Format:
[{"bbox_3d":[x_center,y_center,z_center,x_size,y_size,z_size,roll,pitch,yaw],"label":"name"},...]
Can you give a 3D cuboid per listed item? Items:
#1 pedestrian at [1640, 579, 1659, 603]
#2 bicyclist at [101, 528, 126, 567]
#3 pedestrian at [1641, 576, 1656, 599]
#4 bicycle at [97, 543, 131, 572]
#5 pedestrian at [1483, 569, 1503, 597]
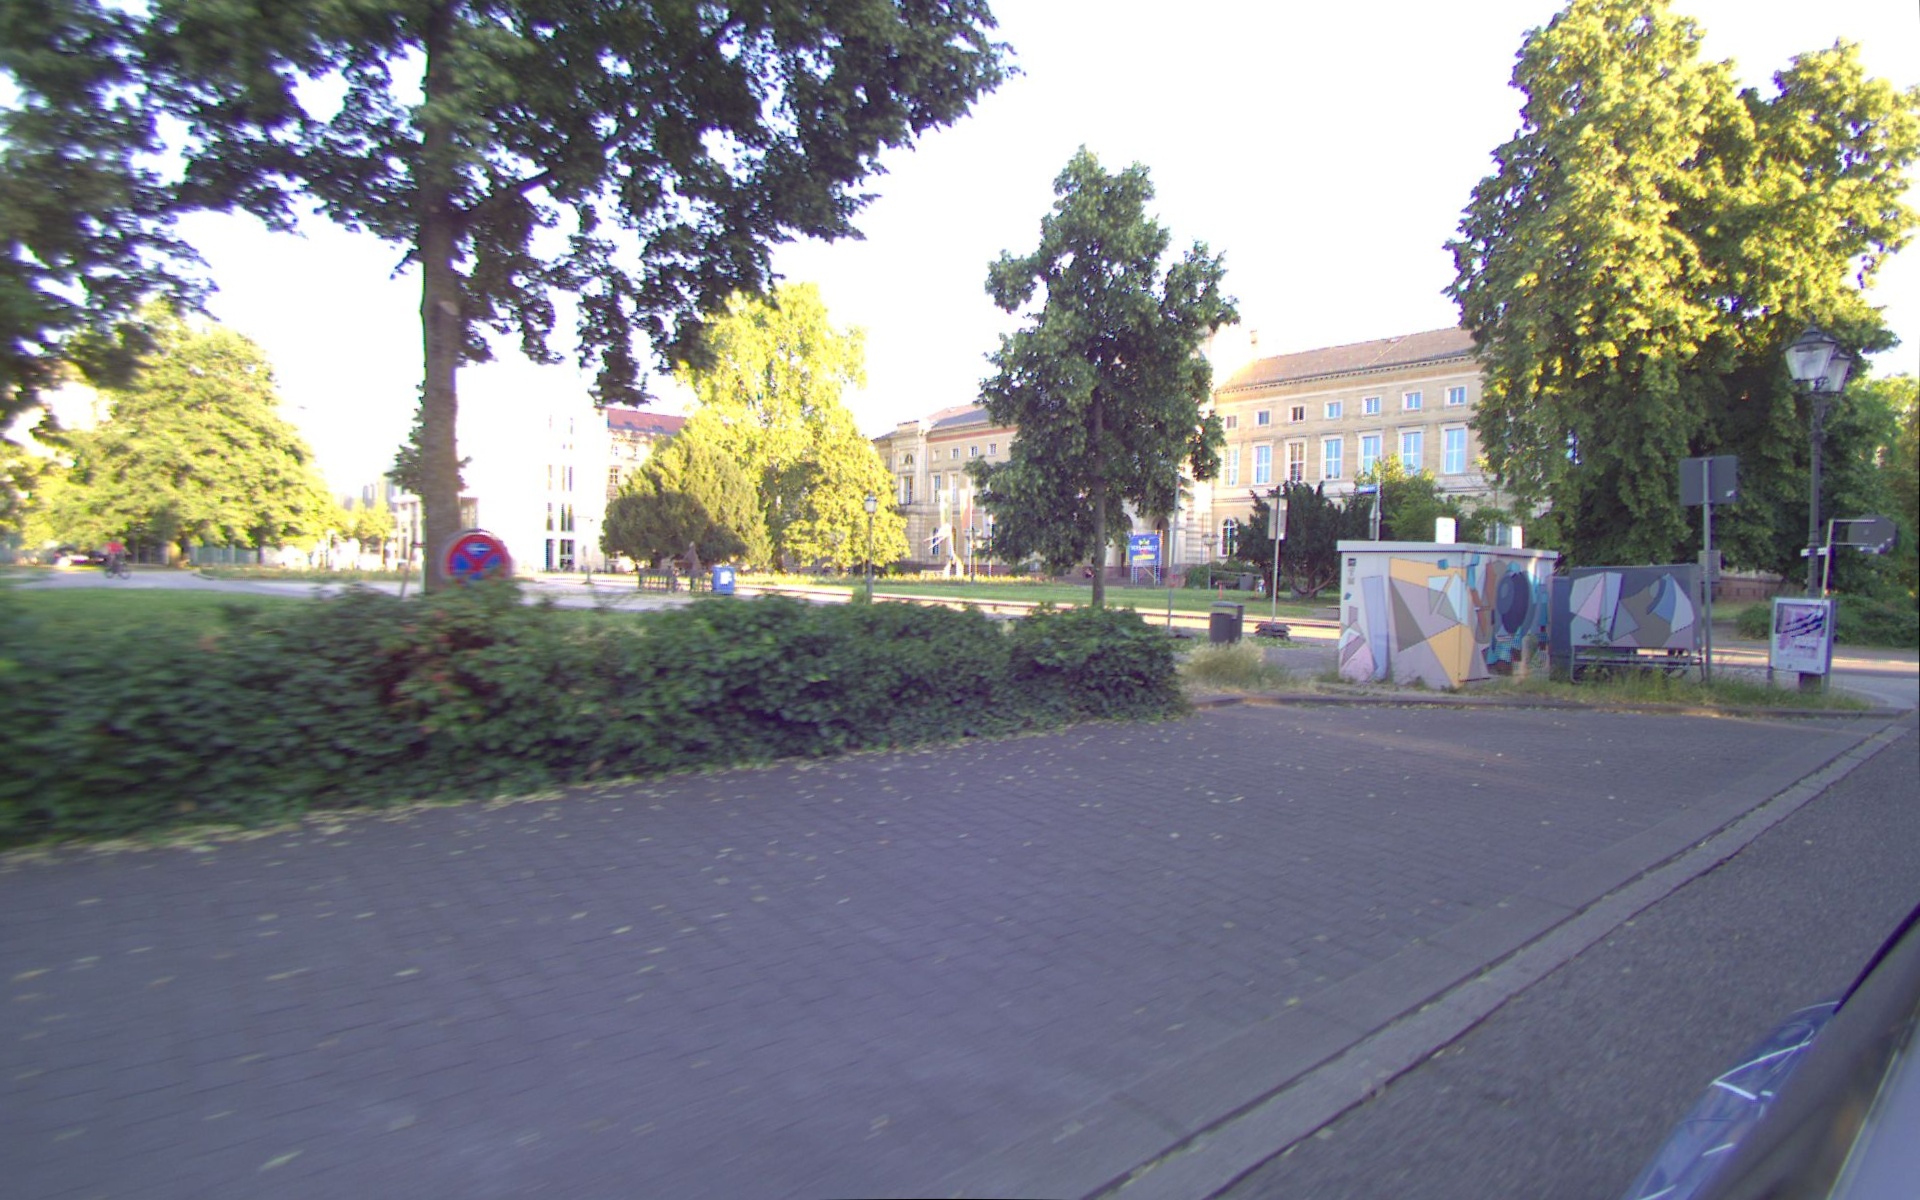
[{"bbox_3d":[31.352,-0.396,46.021,0.595,1.063,0.394,2,2,14],"label":"pedestrian"},{"bbox_3d":[-36.494,-2.255,43.627,0.671,1.652,0.652,2,2,29],"label":"bicyclist"},{"bbox_3d":[32.052,-0.600,47.100,0.390,1.063,0.600,2,2,19],"label":"pedestrian"},{"bbox_3d":[-36.472,-1.839,43.627,1.759,1.191,0.560,2,2,29],"label":"bicycle"},{"bbox_3d":[29.071,-0.928,55.210,0.742,1.461,0.815,2,2,15],"label":"pedestrian"}]
